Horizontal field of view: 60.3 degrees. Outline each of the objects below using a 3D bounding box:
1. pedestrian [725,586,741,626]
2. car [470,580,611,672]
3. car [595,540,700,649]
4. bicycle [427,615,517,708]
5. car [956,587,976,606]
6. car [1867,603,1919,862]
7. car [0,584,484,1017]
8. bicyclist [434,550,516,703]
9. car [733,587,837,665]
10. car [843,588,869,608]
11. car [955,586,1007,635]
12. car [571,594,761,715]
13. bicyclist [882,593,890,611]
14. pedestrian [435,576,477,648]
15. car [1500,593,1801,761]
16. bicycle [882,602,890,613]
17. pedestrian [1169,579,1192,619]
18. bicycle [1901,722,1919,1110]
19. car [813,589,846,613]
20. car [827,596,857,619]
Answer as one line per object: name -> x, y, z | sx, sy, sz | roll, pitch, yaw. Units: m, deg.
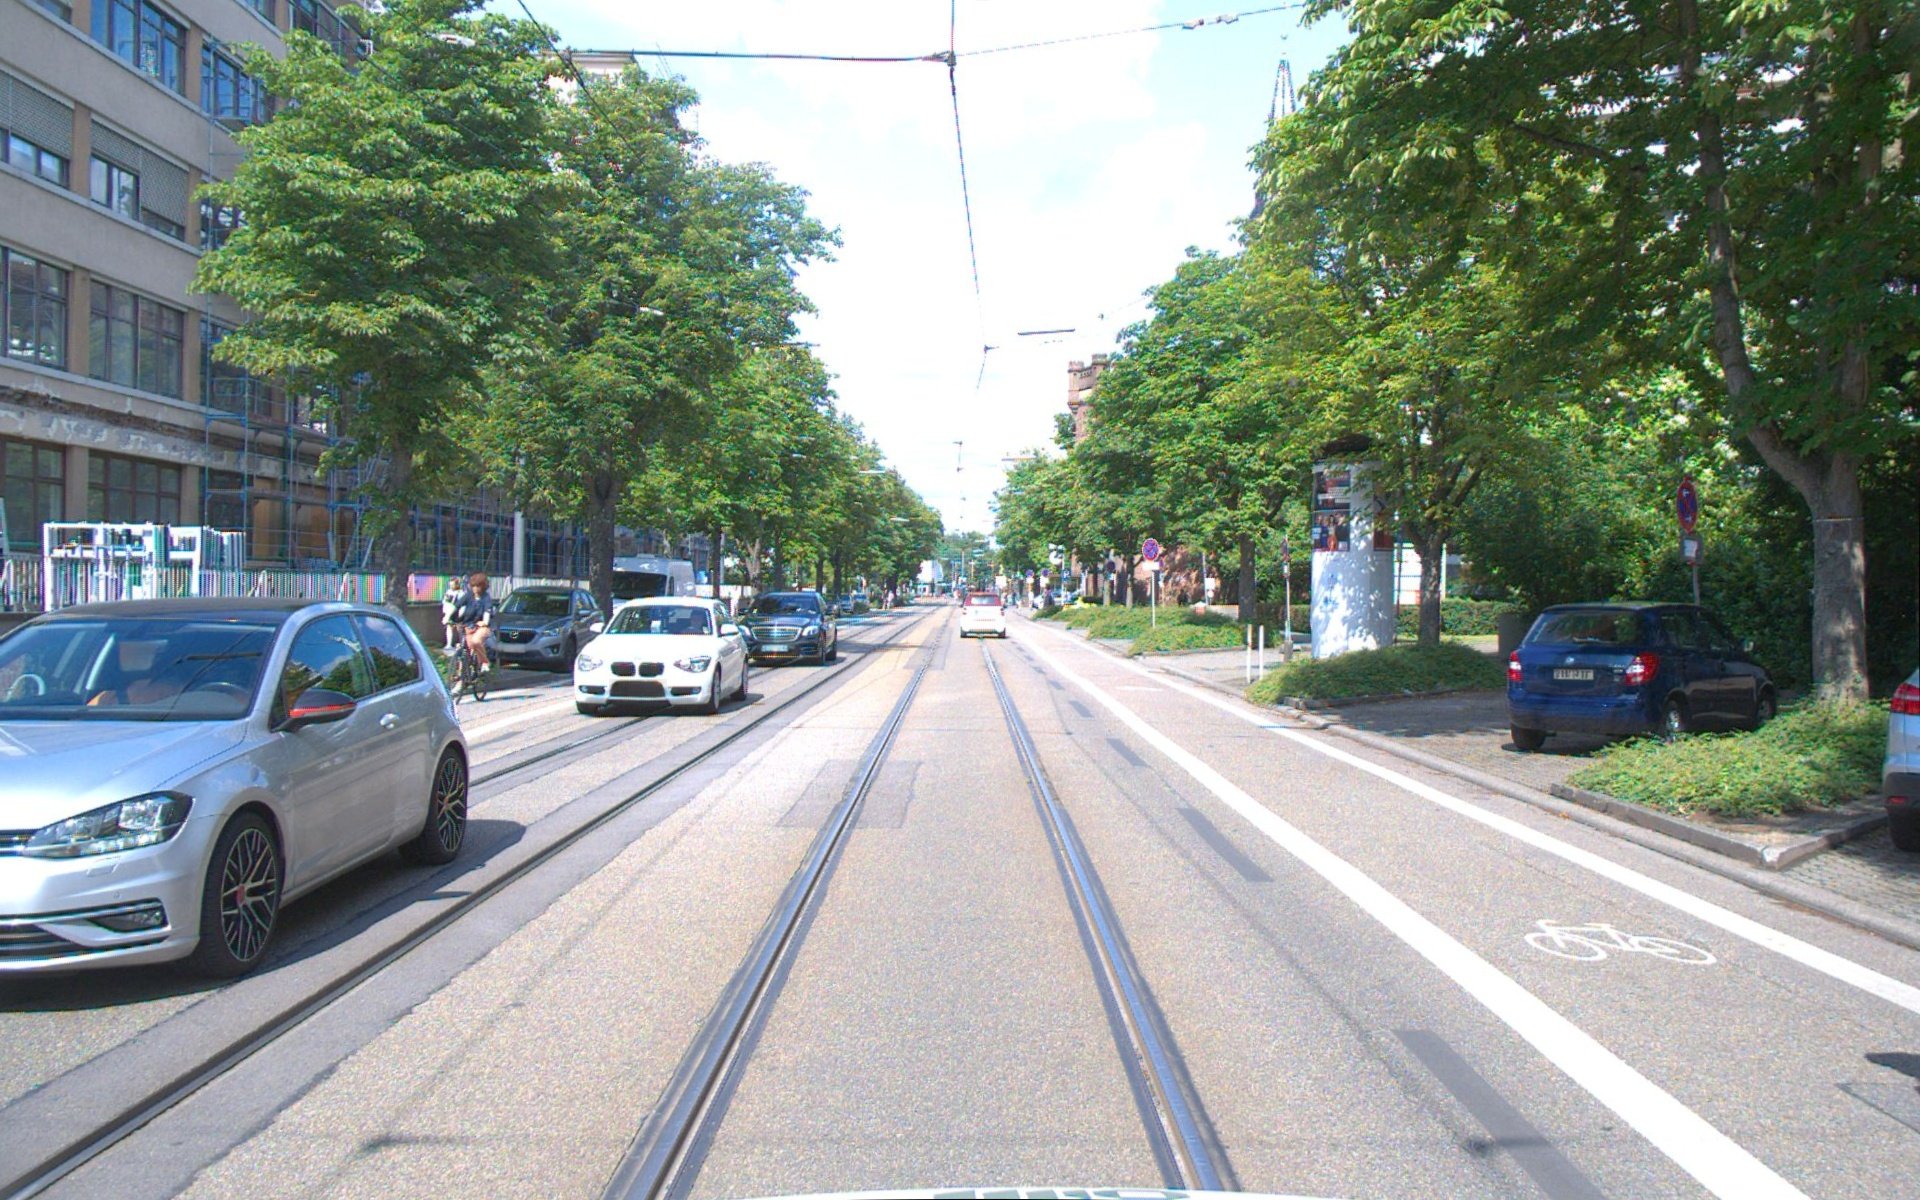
pedestrian -> -11.812, 0.295, 86.060 | 0.788, 2.049, 0.484 | 1, 0, -9
car -> -8.419, 0.516, 33.540 | 1.768, 1.691, 4.102 | 2, -1, 0
car -> -8.259, -0.136, 44.216 | 1.733, 2.685, 5.322 | 2, 0, 0
bicycle -> -6.634, 0.815, 22.570 | 0.630, 1.186, 1.944 | -2, -1, -1
car -> 0.533, -0.330, 142.092 | 1.631, 1.518, 3.620 | 1, 1, -1
car -> 7.359, 0.826, 10.496 | 3.772, 1.500, 1.628 | 1, 1, -42
car -> -3.554, 0.678, 7.450 | 1.737, 1.441, 3.851 | -1, 0, -1
bicyclist -> -6.647, 0.361, 22.702 | 0.859, 2.049, 0.833 | -1, -1, -2
car -> -3.666, 0.521, 35.305 | 1.764, 1.534, 4.535 | 1, 0, -1
car -> -8.279, -0.192, 131.854 | 1.768, 1.543, 4.103 | 1, 0, 0
car -> 0.713, 0.332, 57.434 | 1.632, 1.653, 3.619 | 0, 1, -2
car -> -3.734, 0.649, 21.701 | 1.652, 1.430, 4.227 | 0, 0, 1
bicyclist -> -6.586, 0.149, 147.604 | 0.645, 1.607, 0.945 | 2, 0, -2
pedestrian -> -11.733, 0.272, 38.519 | 0.749, 1.648, 0.594 | 2, 0, 0
car -> 7.266, 0.706, 17.209 | 1.589, 1.512, 3.973 | 0, 0, 44
bicycle -> -6.587, 0.663, 147.573 | 0.605, 0.990, 1.717 | 1, 0, 1
pedestrian -> 11.597, -0.035, 87.025 | 0.957, 2.049, 1.093 | 2, 0, -1
bicycle -> 3.208, 0.973, 3.937 | 0.856, 1.145, 2.137 | 2, 1, 6
car -> -8.409, 0.046, 106.861 | 1.768, 1.543, 4.103 | 1, 0, 0
car -> -8.490, 0.530, 119.196 | 1.768, 1.543, 4.102 | 2, 0, 0
